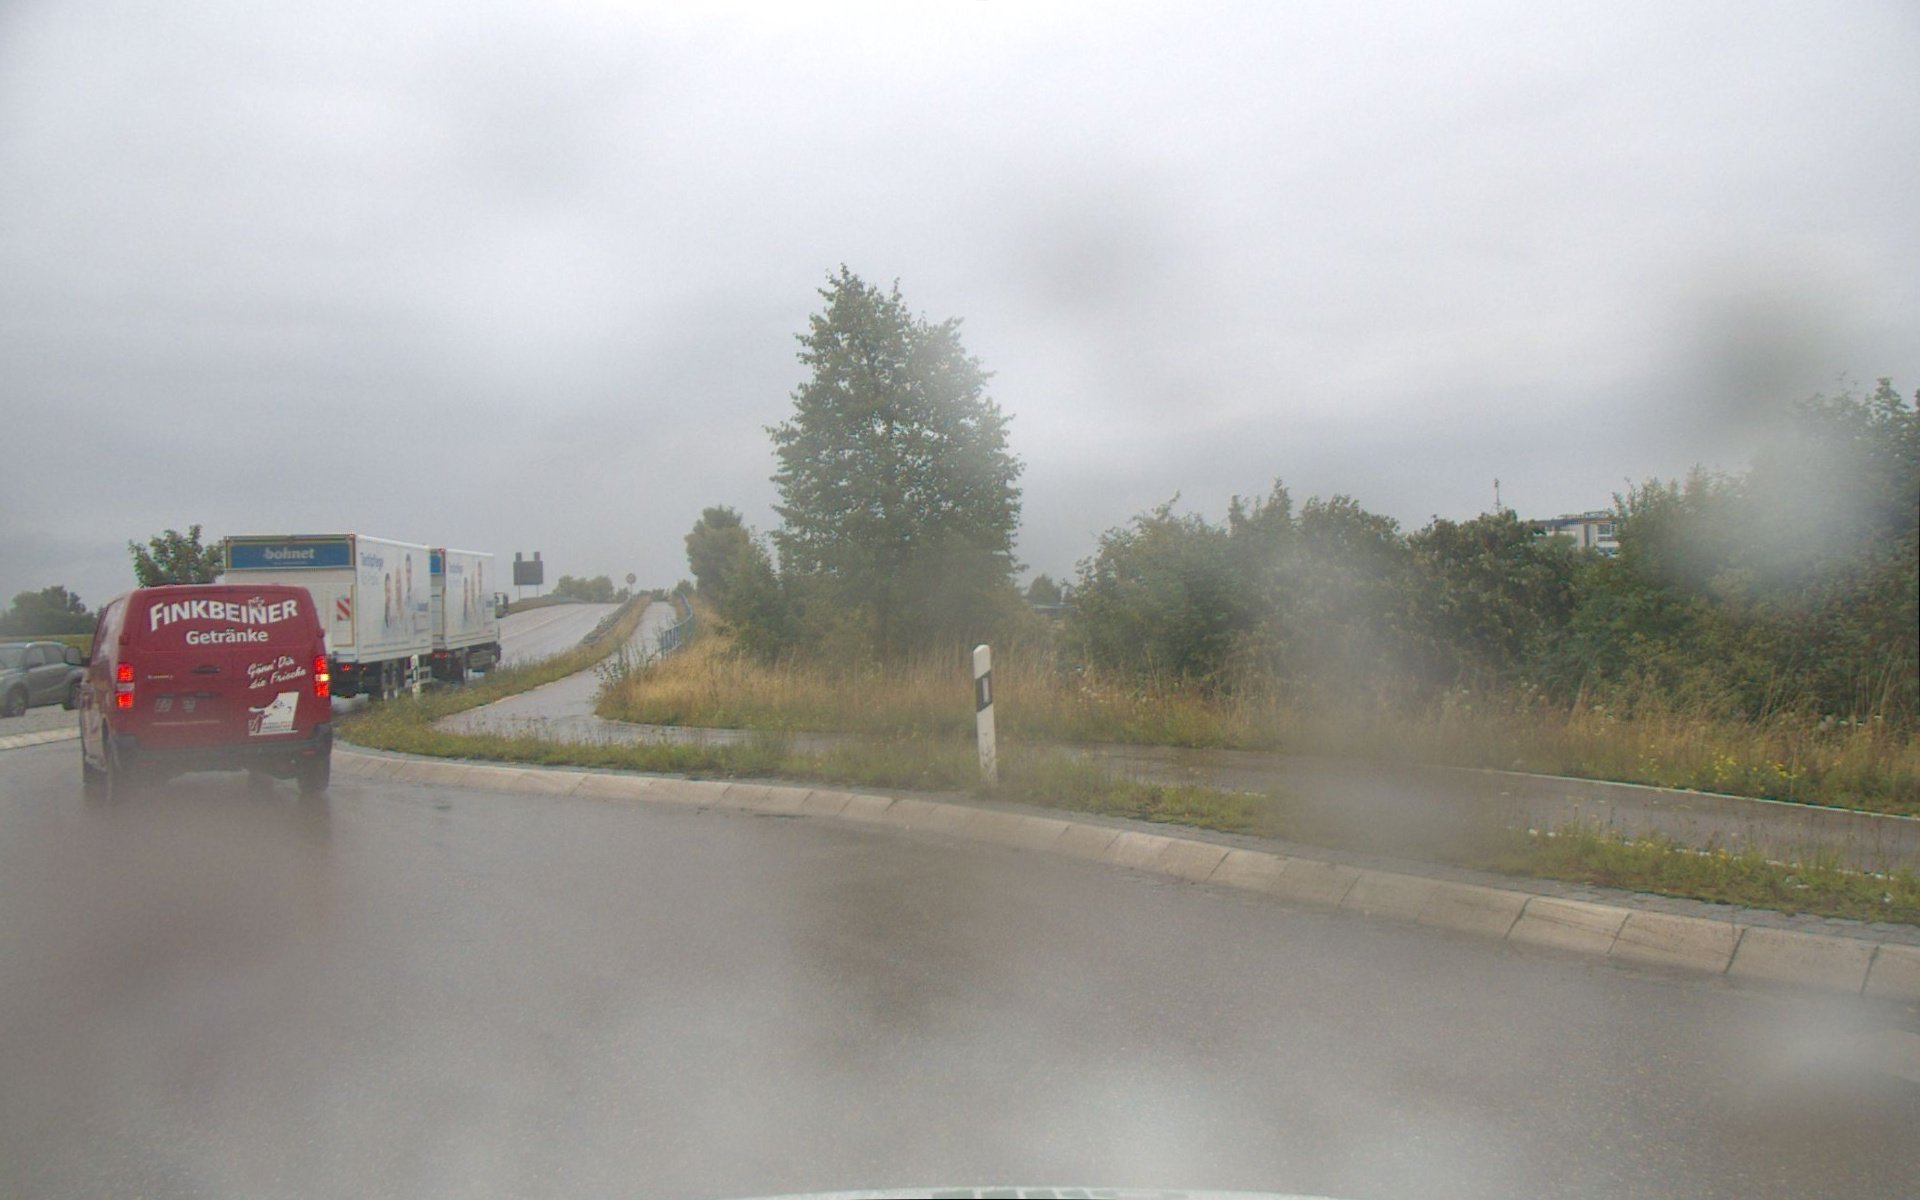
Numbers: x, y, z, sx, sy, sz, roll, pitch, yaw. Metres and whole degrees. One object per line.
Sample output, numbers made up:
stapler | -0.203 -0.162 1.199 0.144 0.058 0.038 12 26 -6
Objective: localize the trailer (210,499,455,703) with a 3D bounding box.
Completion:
trailer | -13.711 -0.009 37.117 2.778 3.885 9.700 -2 0 -7

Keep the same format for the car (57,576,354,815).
car | -7.567 0.801 16.293 1.975 1.903 4.923 -3 1 -32

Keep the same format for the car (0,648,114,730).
car | -20.228 1.879 35.630 1.763 1.602 4.001 -1 -1 3

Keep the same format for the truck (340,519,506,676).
truck | -14.654 -0.095 45.739 2.746 3.885 7.678 -2 0 -6
